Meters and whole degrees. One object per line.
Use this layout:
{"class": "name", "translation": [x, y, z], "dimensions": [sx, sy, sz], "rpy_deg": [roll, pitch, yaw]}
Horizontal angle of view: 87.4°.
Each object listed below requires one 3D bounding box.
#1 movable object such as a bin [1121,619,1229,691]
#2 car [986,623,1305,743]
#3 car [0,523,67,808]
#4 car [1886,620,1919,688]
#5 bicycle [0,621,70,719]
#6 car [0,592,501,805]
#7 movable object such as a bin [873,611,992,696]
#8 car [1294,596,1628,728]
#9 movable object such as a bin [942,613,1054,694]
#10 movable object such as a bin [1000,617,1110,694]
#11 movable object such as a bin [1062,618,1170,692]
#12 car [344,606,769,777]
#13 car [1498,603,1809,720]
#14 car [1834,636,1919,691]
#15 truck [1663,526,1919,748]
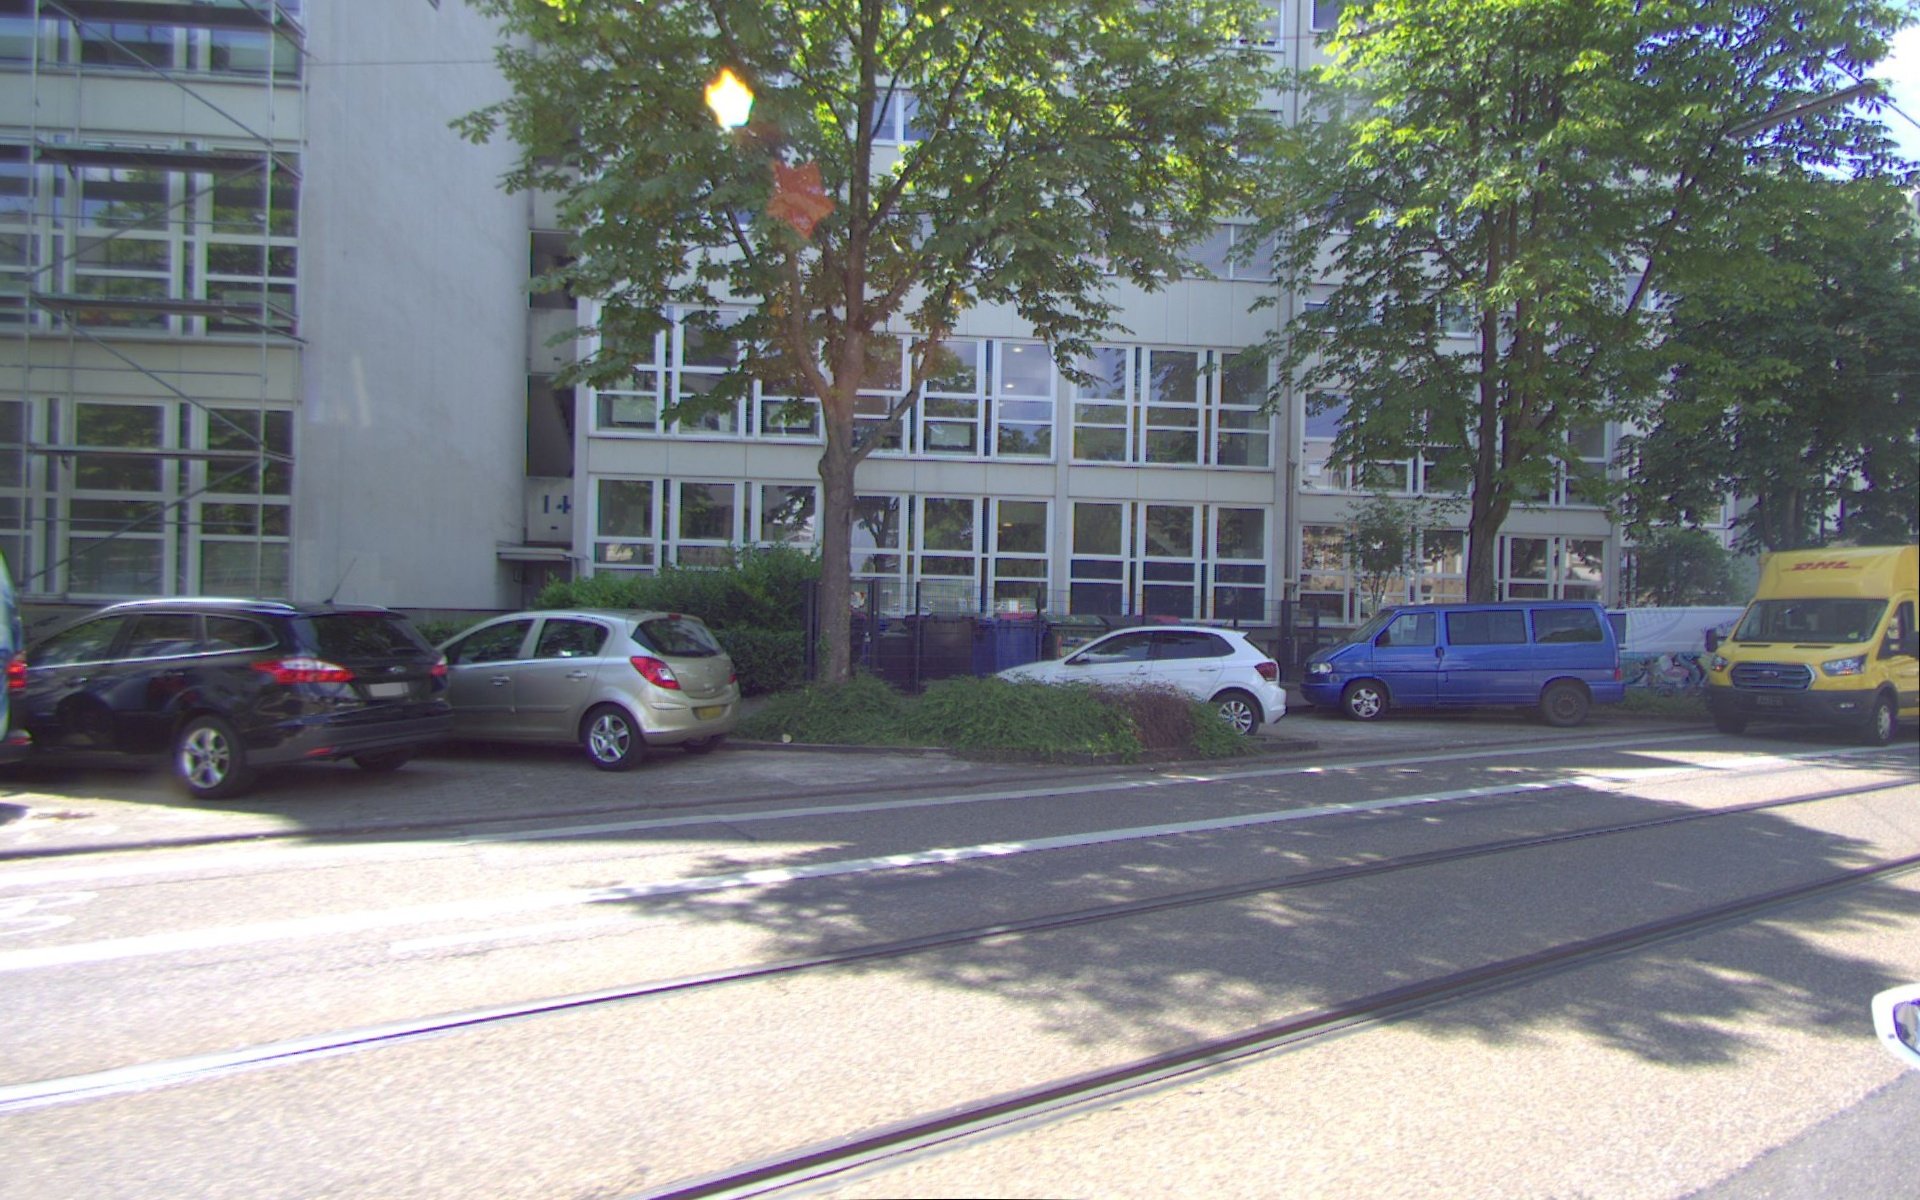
{"class": "movable object such as a bin", "translation": [4.509, 1.126, 21.167], "dimensions": [1.407, 1.428, 1.754], "rpy_deg": [2, -1, -30]}
{"class": "car", "translation": [2.443, 1.060, 13.451], "dimensions": [3.919, 1.452, 1.764], "rpy_deg": [0, -3, 12]}
{"class": "car", "translation": [-8.998, 0.416, 6.865], "dimensions": [4.660, 1.960, 1.923], "rpy_deg": [0, -2, 13]}
{"class": "car", "translation": [30.322, 1.656, 29.371], "dimensions": [4.400, 1.966, 1.704], "rpy_deg": [1, -1, 22]}
{"class": "bicycle", "translation": [-11.527, 0.843, 11.703], "dimensions": [0.547, 1.089, 2.135], "rpy_deg": [2, 1, -4]}
{"class": "car", "translation": [-6.125, 0.739, 8.584], "dimensions": [3.634, 1.526, 1.819], "rpy_deg": [0, -2, 14]}
{"class": "movable object such as a bin", "translation": [-0.517, 0.926, 18.091], "dimensions": [1.472, 1.428, 1.754], "rpy_deg": [2, -1, -30]}
{"class": "car", "translation": [8.012, 0.951, 16.572], "dimensions": [4.636, 1.981, 1.848], "rpy_deg": [0, -2, 15]}
{"class": "movable object such as a bin", "translation": [0.700, 0.983, 19.037], "dimensions": [1.407, 1.428, 1.754], "rpy_deg": [2, -1, -30]}
{"class": "movable object such as a bin", "translation": [1.866, 1.060, 19.887], "dimensions": [1.407, 1.428, 1.754], "rpy_deg": [2, -1, -30]}
{"class": "movable object such as a bin", "translation": [3.169, 1.093, 20.544], "dimensions": [1.407, 1.428, 1.754], "rpy_deg": [2, -1, -30]}
{"class": "car", "translation": [-3.996, 0.841, 10.162], "dimensions": [3.634, 1.486, 1.764], "rpy_deg": [0, -2, 15]}
{"class": "car", "translation": [13.348, 1.129, 19.741], "dimensions": [4.670, 2.089, 2.026], "rpy_deg": [0, -2, 21]}
{"class": "car", "translation": [27.321, 1.814, 28.275], "dimensions": [3.737, 1.476, 1.634], "rpy_deg": [1, -1, 20]}
{"class": "truck", "translation": [14.362, 0.573, 15.933], "dimensions": [7.288, 2.890, 2.350], "rpy_deg": [1, -1, -29]}
